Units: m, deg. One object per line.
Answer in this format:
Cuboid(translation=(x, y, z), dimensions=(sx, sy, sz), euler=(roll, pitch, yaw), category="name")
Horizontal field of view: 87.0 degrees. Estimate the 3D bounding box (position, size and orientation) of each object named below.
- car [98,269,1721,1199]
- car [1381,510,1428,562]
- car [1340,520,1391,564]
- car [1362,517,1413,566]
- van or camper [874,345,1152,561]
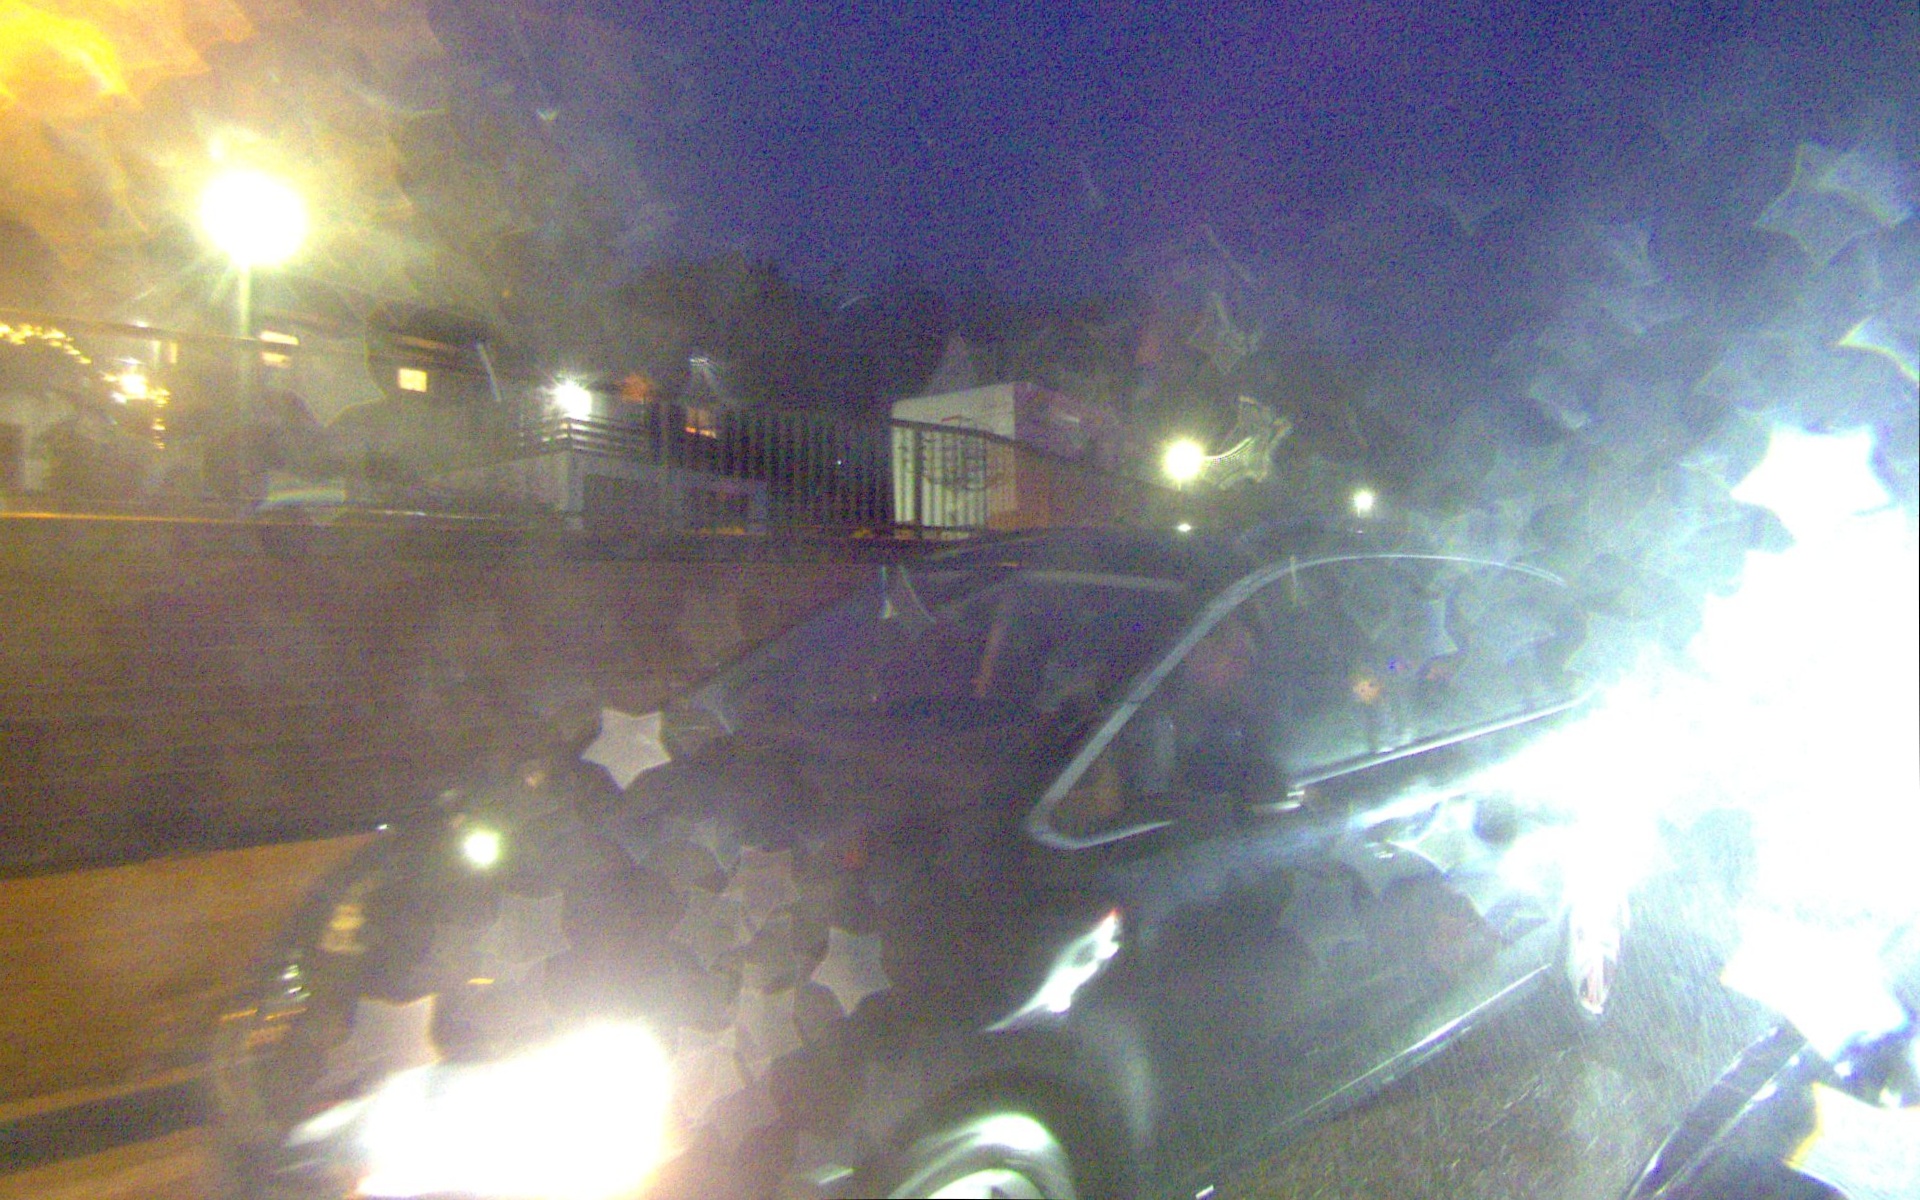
Cuboid(translation=(0.534, 0.545, 3.174), dimensions=(4.852, 1.757, 1.839), euler=(-1, 0, -39), category="car")
Cuboid(translation=(26.267, -3.722, 59.749), dimensions=(1.922, 2.809, 4.206), euler=(0, 0, 32), category="car")
Cuboid(translation=(20.350, -2.865, 50.733), dimensions=(1.721, 2.039, 3.658), euler=(0, 0, 32), category="car")
Cuboid(translation=(23.374, -3.138, 55.236), dimensions=(1.922, 2.451, 4.206), euler=(0, 0, 32), category="car")
Cuboid(translation=(1.146, -2.157, 17.153), dimensions=(2.394, 2.828, 5.712), euler=(0, 0, 30), category="van or camper")
